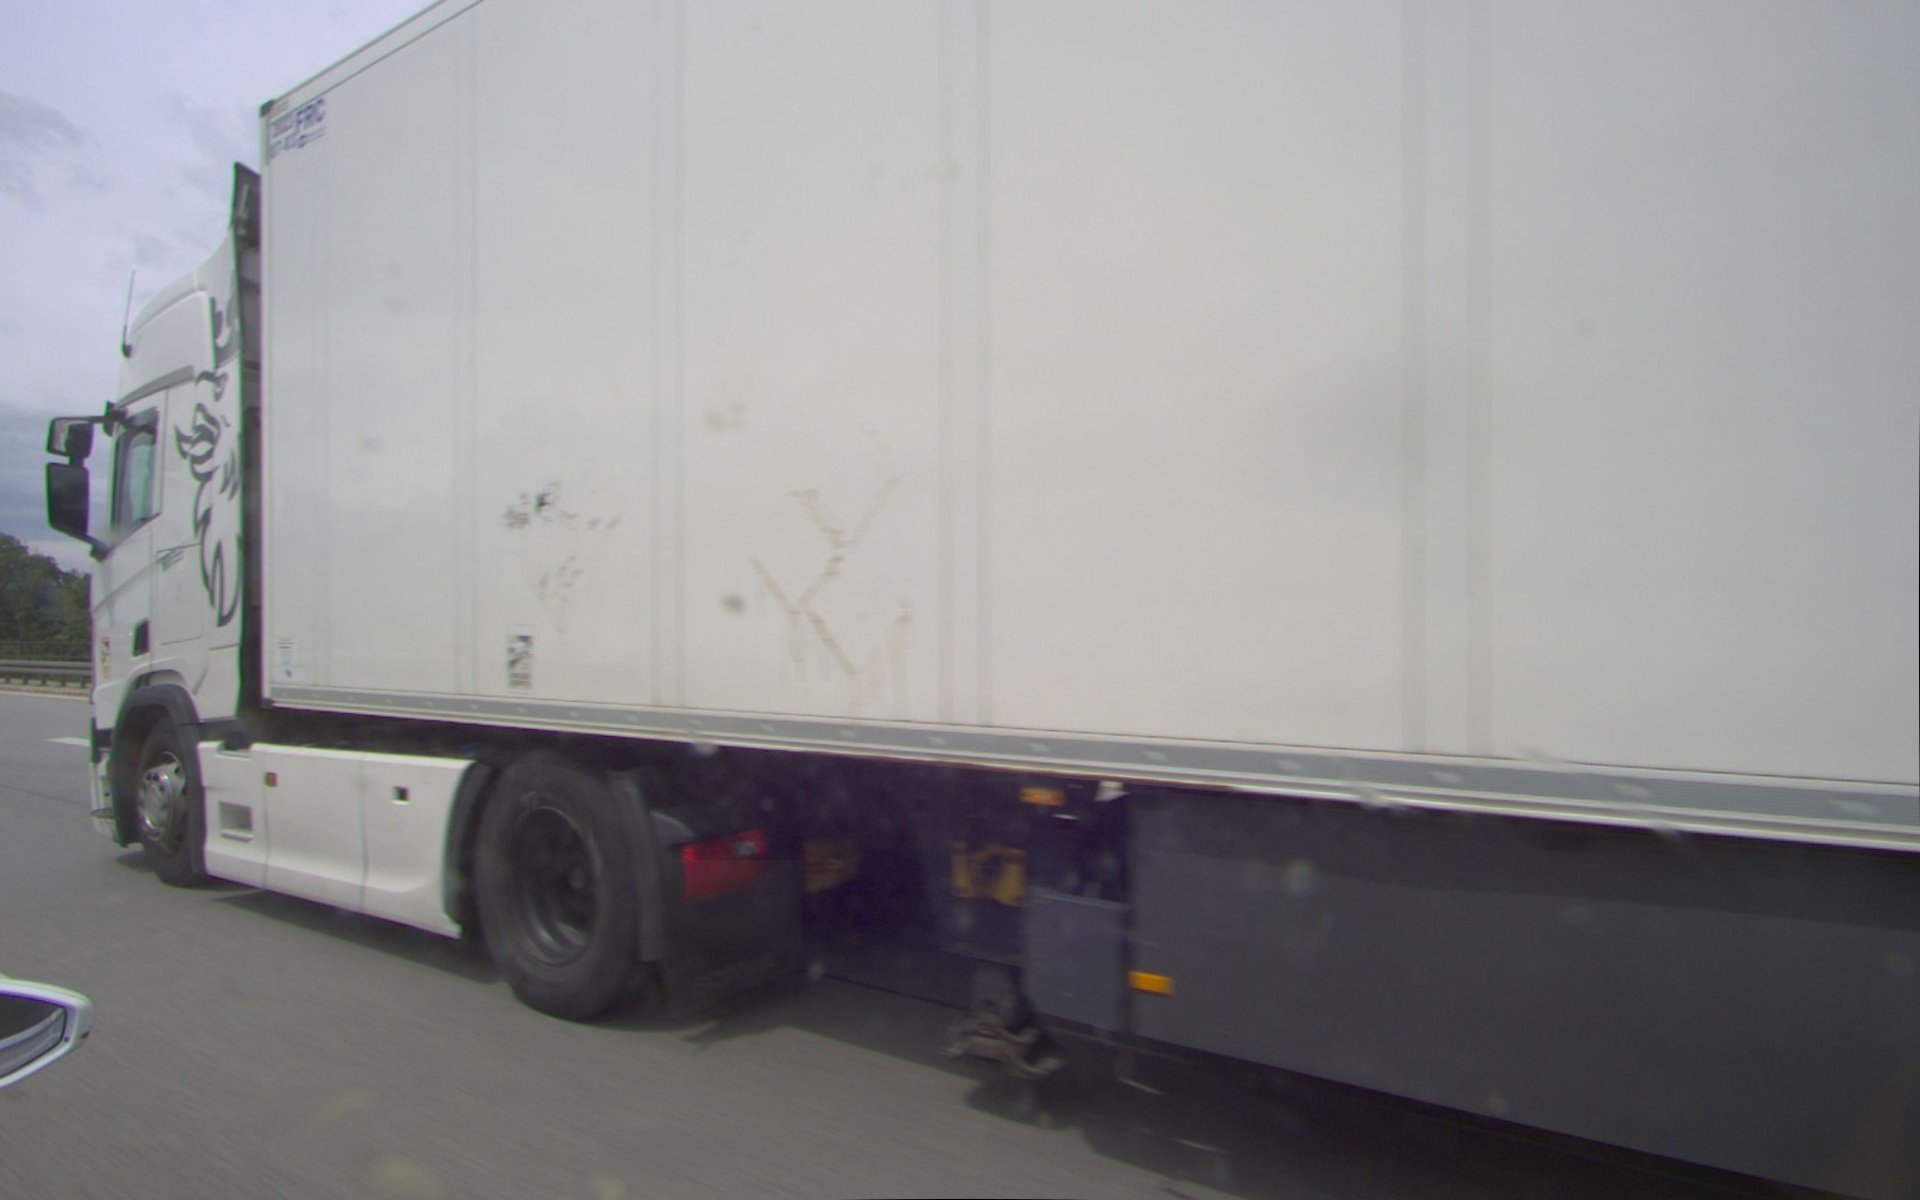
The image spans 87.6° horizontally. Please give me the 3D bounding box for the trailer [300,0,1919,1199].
[{"bbox_3d":[3.431,-0.442,2.175,13.598,3.940,3.056,-1,-2,34],"label":"trailer"}]

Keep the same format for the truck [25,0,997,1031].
[{"bbox_3d":[-3.068,-0.368,6.481,5.916,3.941,3.056,-1,-2,34],"label":"truck"}]
